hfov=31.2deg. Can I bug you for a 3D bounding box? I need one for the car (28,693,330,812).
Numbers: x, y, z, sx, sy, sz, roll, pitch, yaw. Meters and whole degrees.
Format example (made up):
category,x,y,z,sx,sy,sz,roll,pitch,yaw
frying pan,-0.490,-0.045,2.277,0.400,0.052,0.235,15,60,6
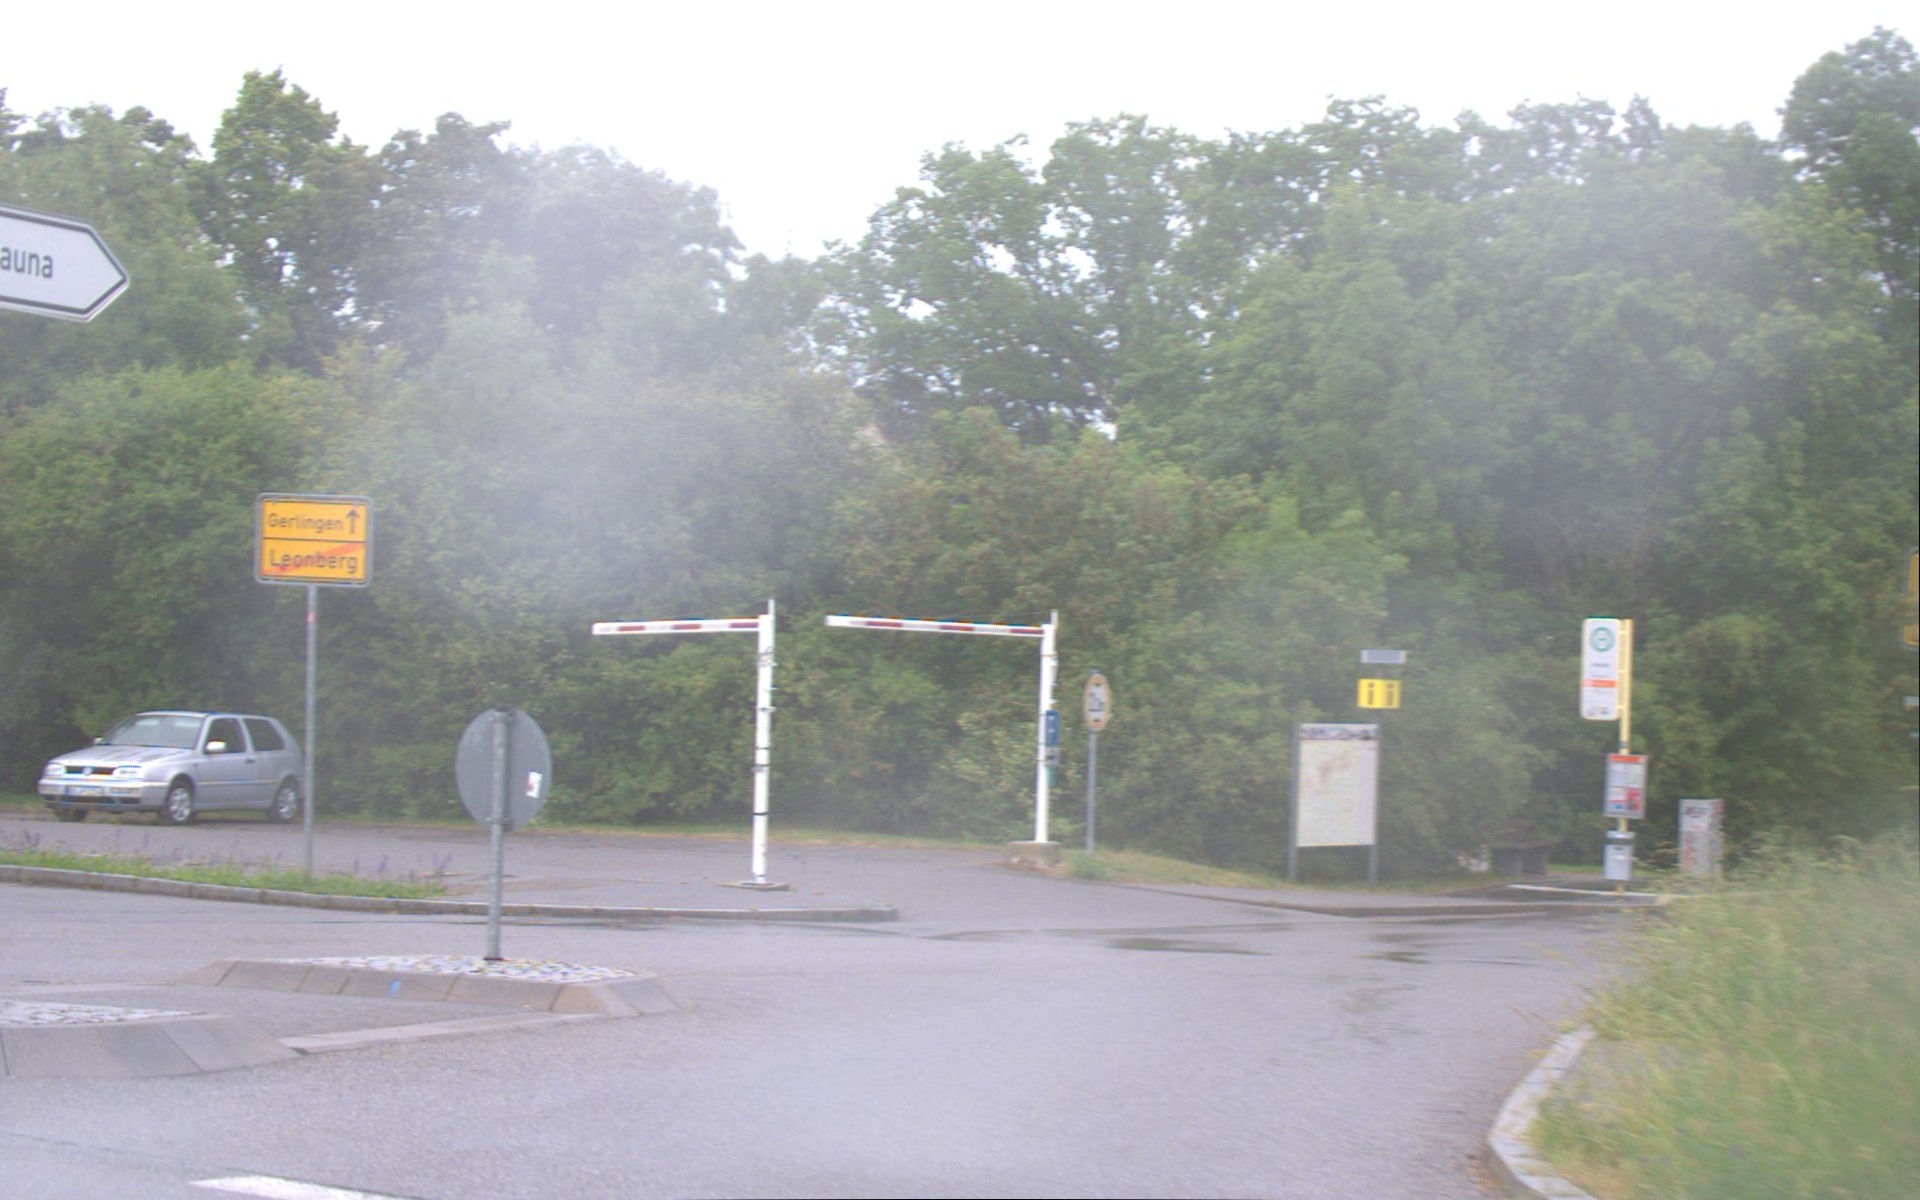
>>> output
category,x,y,z,sx,sy,sz,roll,pitch,yaw
car,-9.643,1.879,42.762,1.603,1.351,4.117,1,-2,21
